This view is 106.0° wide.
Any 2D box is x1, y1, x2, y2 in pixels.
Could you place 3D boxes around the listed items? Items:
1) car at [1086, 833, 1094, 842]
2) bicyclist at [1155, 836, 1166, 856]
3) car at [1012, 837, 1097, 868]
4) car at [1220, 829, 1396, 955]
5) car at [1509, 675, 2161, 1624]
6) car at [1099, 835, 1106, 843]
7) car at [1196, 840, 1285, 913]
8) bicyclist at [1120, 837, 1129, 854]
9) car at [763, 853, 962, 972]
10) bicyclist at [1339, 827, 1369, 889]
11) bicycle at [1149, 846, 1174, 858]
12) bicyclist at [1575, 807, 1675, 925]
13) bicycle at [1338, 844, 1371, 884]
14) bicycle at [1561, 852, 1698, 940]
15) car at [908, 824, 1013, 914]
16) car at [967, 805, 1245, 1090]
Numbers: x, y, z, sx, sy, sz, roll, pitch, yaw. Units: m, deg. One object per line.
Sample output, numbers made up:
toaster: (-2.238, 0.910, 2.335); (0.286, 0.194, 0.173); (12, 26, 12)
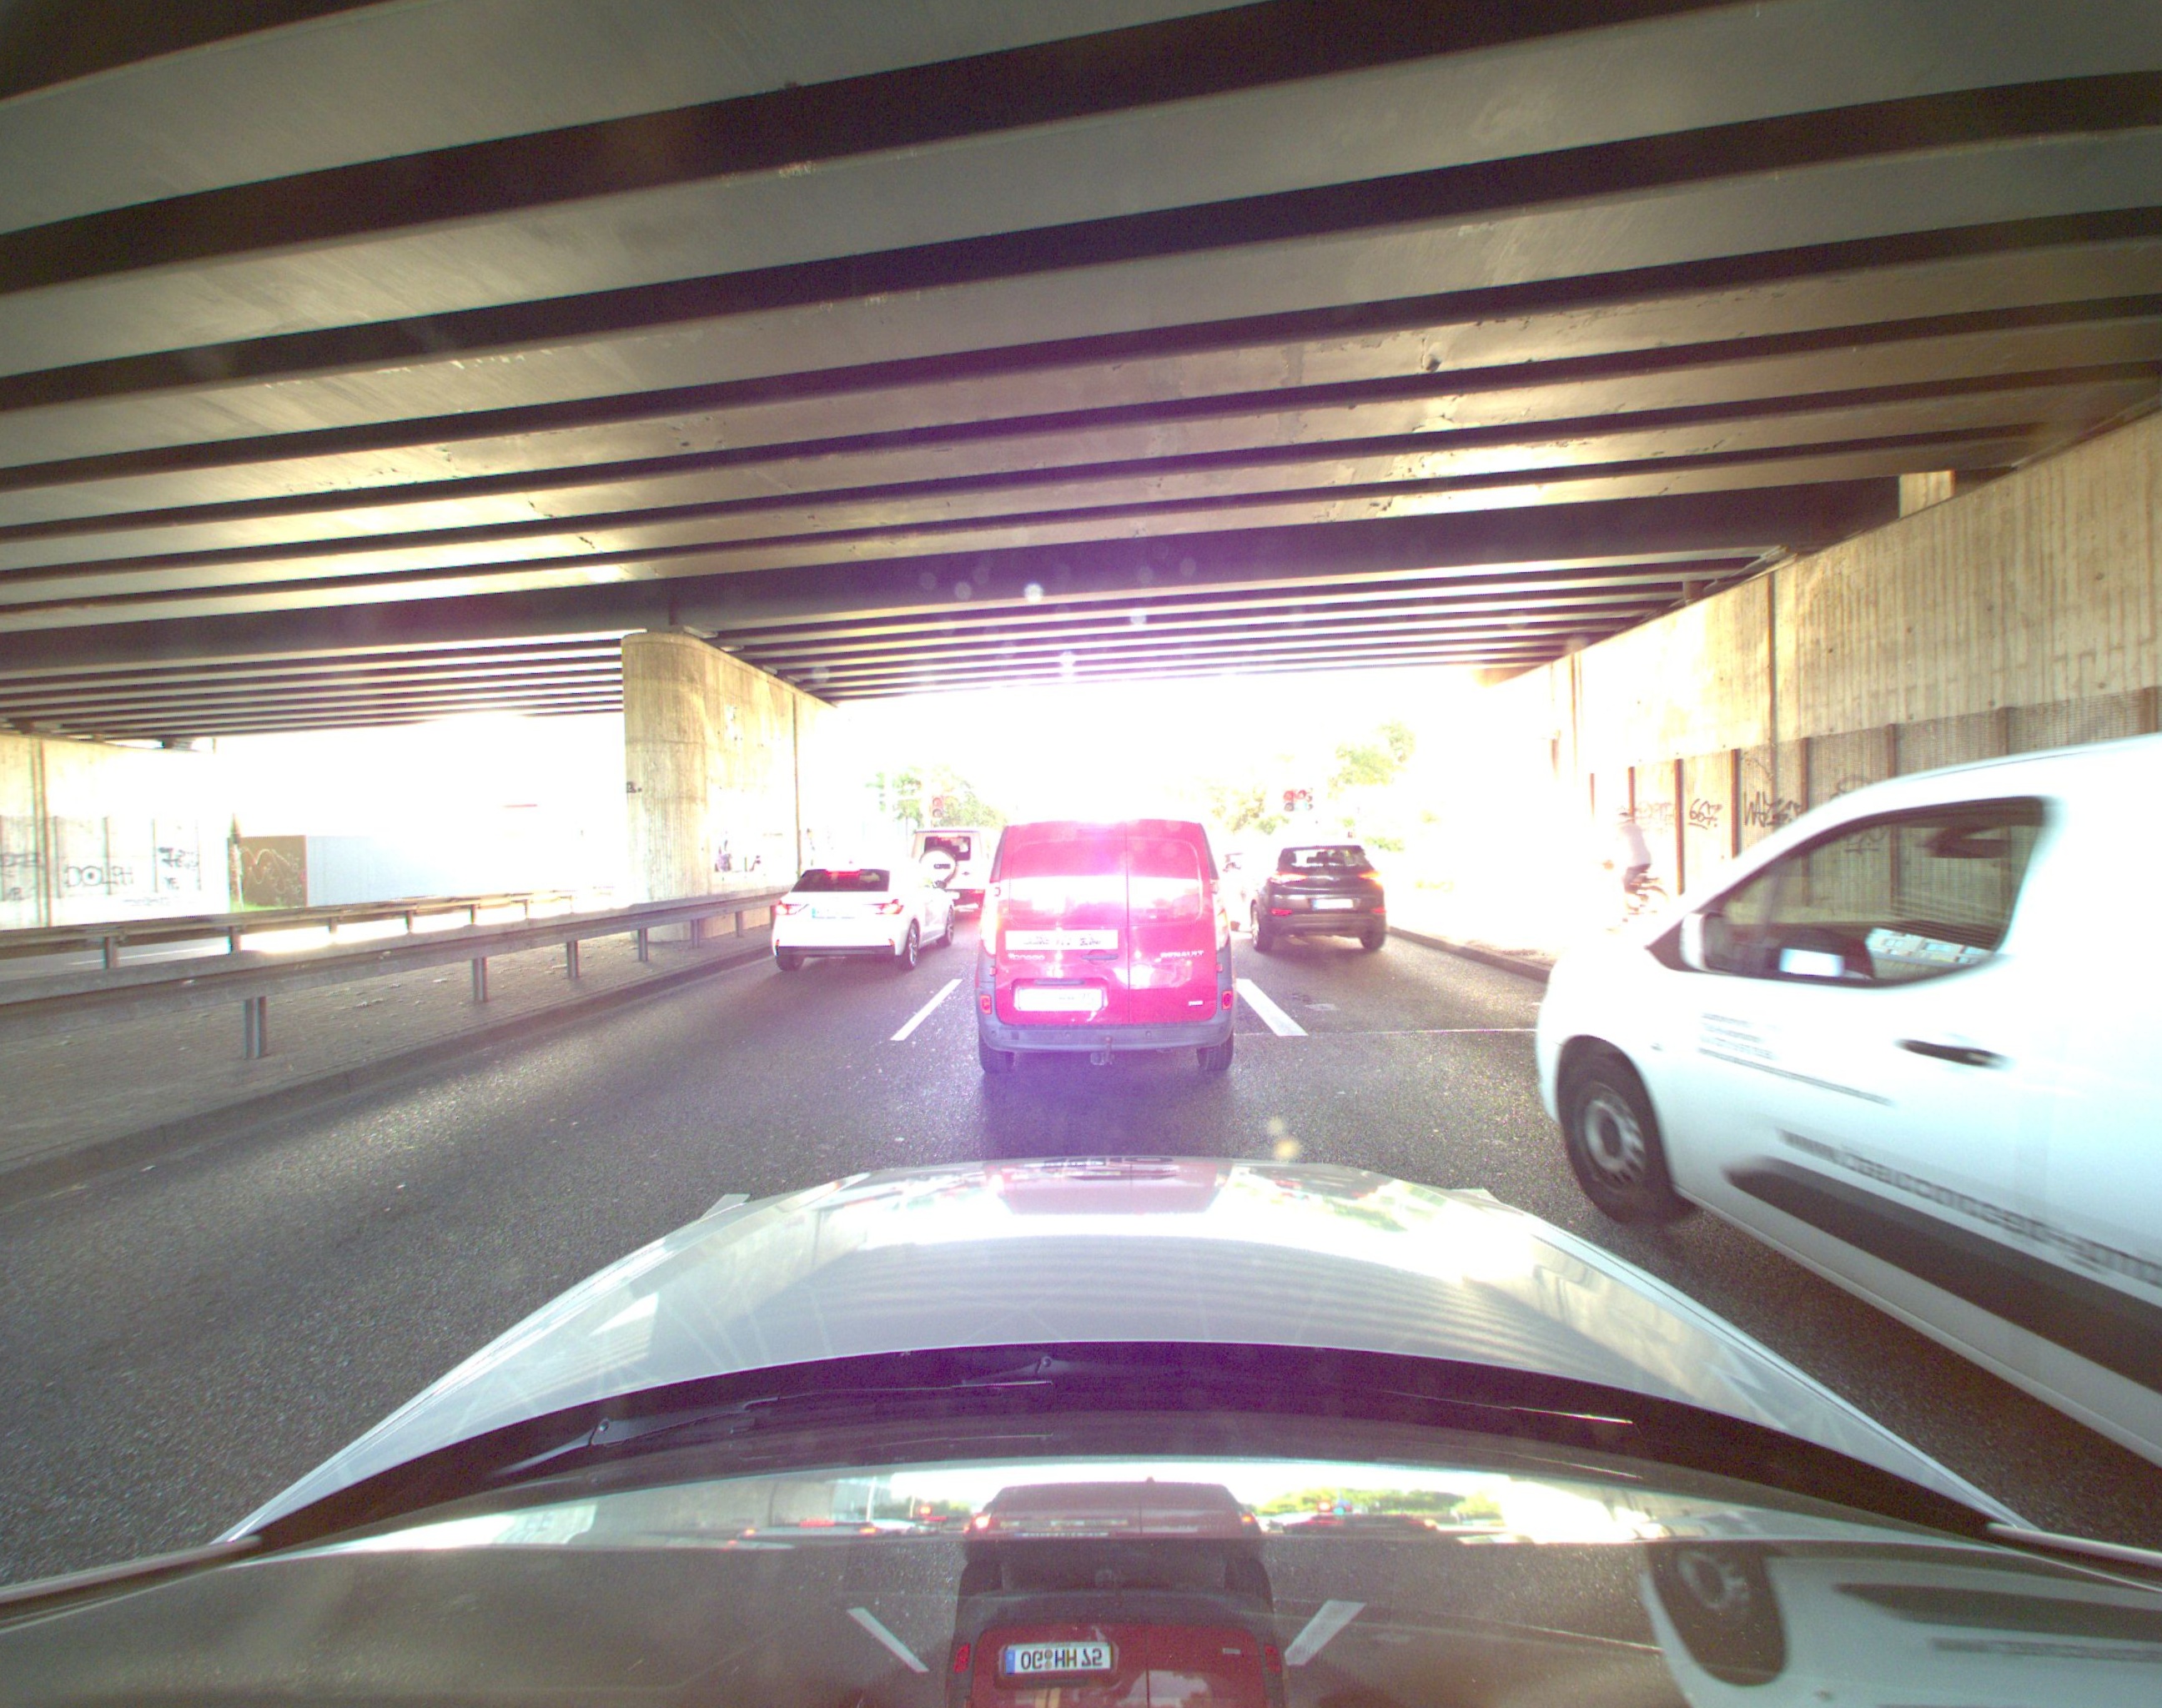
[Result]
car: (2.232, -3.959, 197.903); (1.986, 2.014, 4.001); (0, 0, 2)
bicyclist: (6.253, -0.652, 64.021); (0.752, 1.542, 0.697); (-1, 0, 2)
car: (-1.430, -0.062, 42.772); (4.342, 1.607, 1.995); (0, 0, -7)
car: (3.410, 0.501, 13.019); (1.771, 1.655, 3.991); (-1, 0, 1)
car: (2.989, 0.560, 1.855); (1.807, 1.833, 4.300); (0, 1, 0)
car: (5.805, -4.091, 220.898); (1.986, 2.014, 4.001); (0, 0, 2)
car: (3.690, 0.453, 19.404); (1.645, 1.552, 3.869); (0, 1, 4)
bicyclist: (3.471, -0.644, 64.908); (0.651, 1.329, 0.602); (0, -1, -2)
car: (-2.910, 0.705, 11.698); (1.686, 1.410, 3.815); (0, 0, 2)
bicyclist: (7.273, 0.107, 21.714); (0.673, 1.629, 0.646); (0, -1, 12)
bicycle: (6.304, -0.179, 63.991); (1.945, 0.874, 0.700); (-1, 0, 2)
bicyclist: (7.477, 0.157, 11.237); (0.693, 1.524, 0.910); (-4, -1, 2)
bicycle: (7.278, 0.266, 21.730); (0.672, 1.024, 1.534); (0, 0, 12)
bicycle: (7.500, 0.532, 11.239); (0.699, 1.057, 1.761); (-3, 0, 2)
car: (-2.711, 0.313, 19.109); (1.807, 1.904, 3.814); (0, 0, 1)
car: (0.217, 0.578, 7.063); (1.712, 1.764, 4.002); (0, 0, 2)
